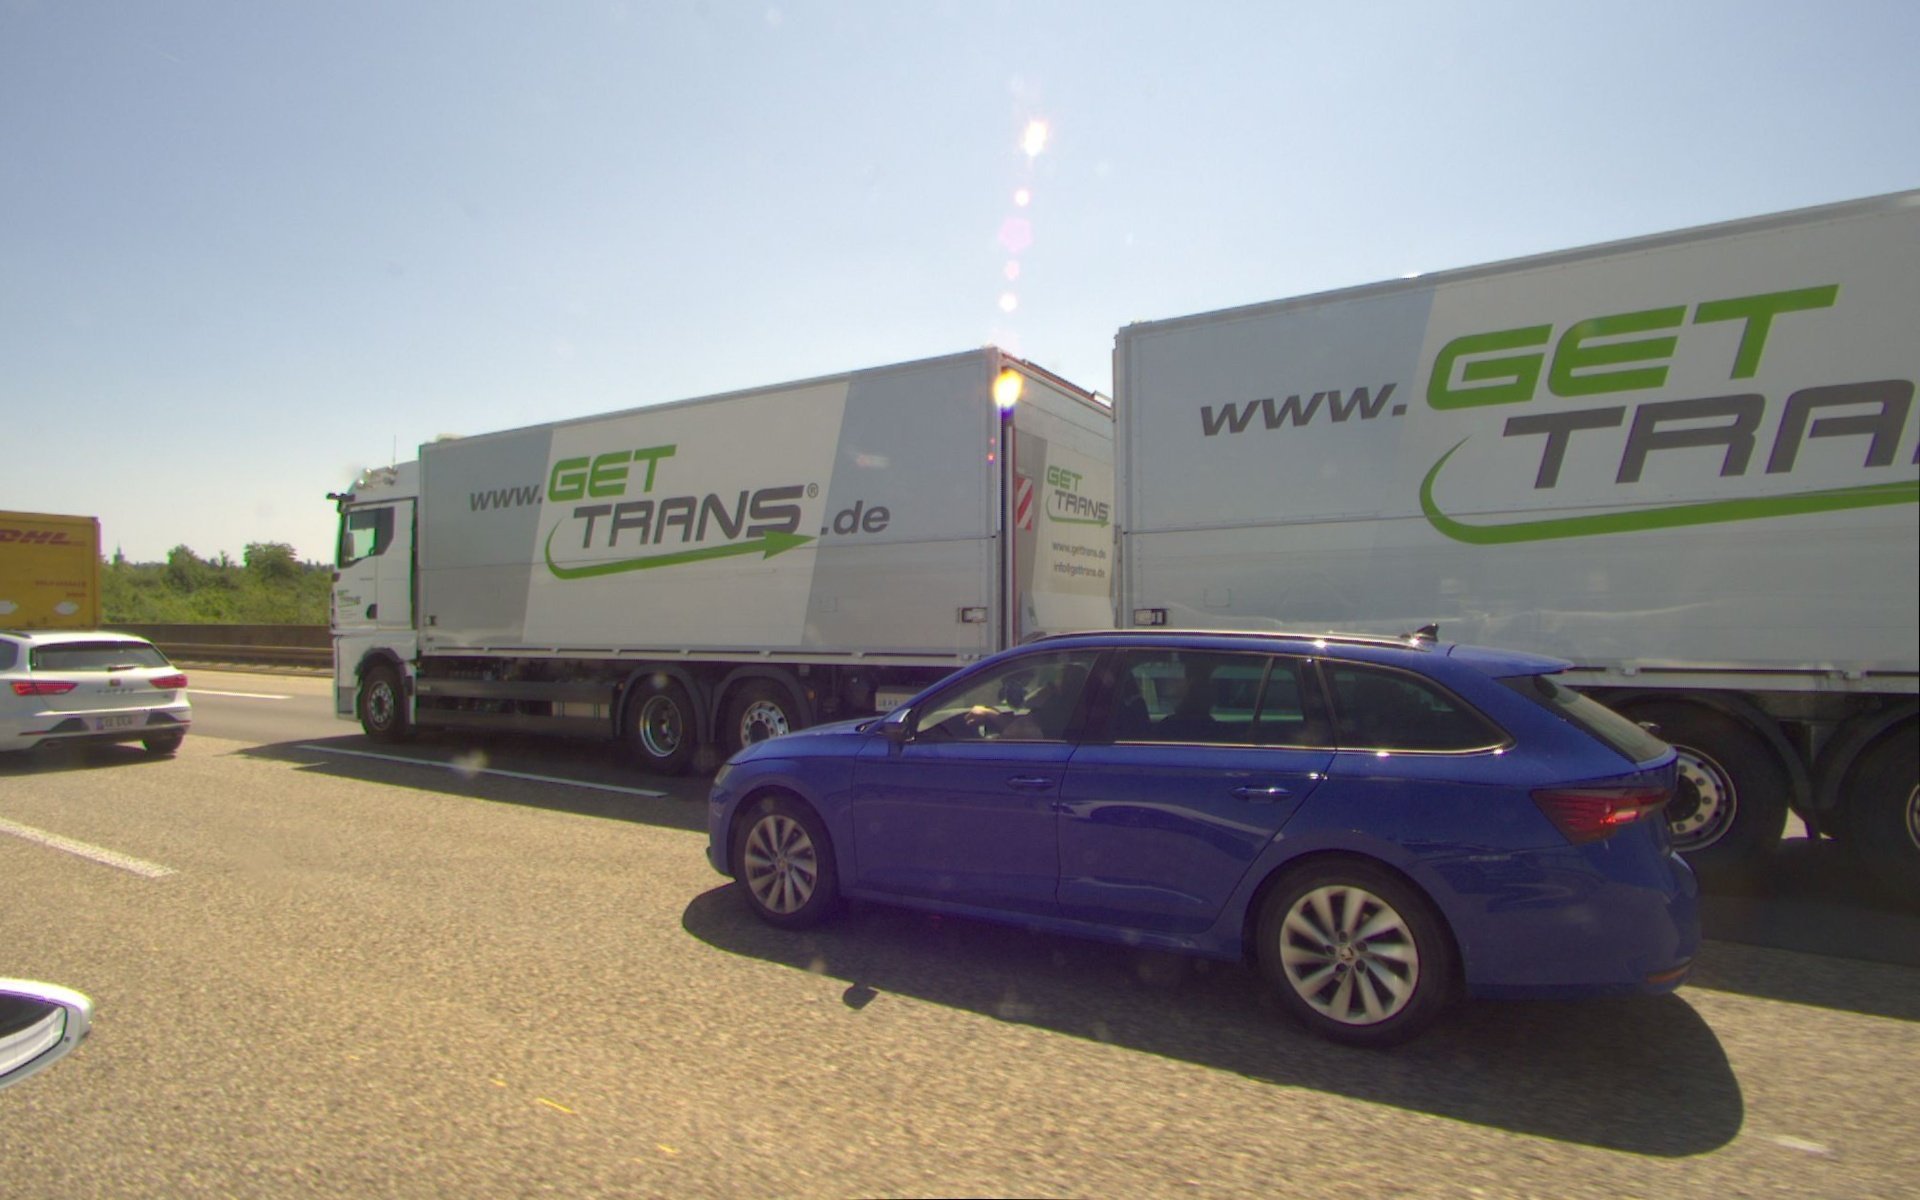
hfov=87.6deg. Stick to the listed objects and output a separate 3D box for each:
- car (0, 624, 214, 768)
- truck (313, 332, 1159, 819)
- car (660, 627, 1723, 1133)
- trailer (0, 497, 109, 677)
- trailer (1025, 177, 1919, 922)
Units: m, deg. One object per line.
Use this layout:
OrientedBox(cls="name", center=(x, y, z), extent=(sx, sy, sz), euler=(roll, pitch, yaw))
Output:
OrientedBox(cls="car", center=(-10.626, 0.983, 11.647), extent=(4.128, 1.405, 1.778), euler=(-1, -1, 32))
OrientedBox(cls="truck", center=(-3.259, -0.043, 11.559), extent=(10.615, 3.648, 2.846), euler=(-1, -2, 32))
OrientedBox(cls="car", center=(0.759, 0.864, 4.807), extent=(4.434, 1.459, 1.707), euler=(-1, -1, 31))
OrientedBox(cls="trailer", center=(-25.106, -0.183, 25.496), extent=(8.803, 4.074, 2.697), euler=(-1, -2, 32))
OrientedBox(cls="trailer", center=(4.701, -0.201, 6.554), extent=(8.171, 3.640, 2.840), euler=(-1, -1, 32))
